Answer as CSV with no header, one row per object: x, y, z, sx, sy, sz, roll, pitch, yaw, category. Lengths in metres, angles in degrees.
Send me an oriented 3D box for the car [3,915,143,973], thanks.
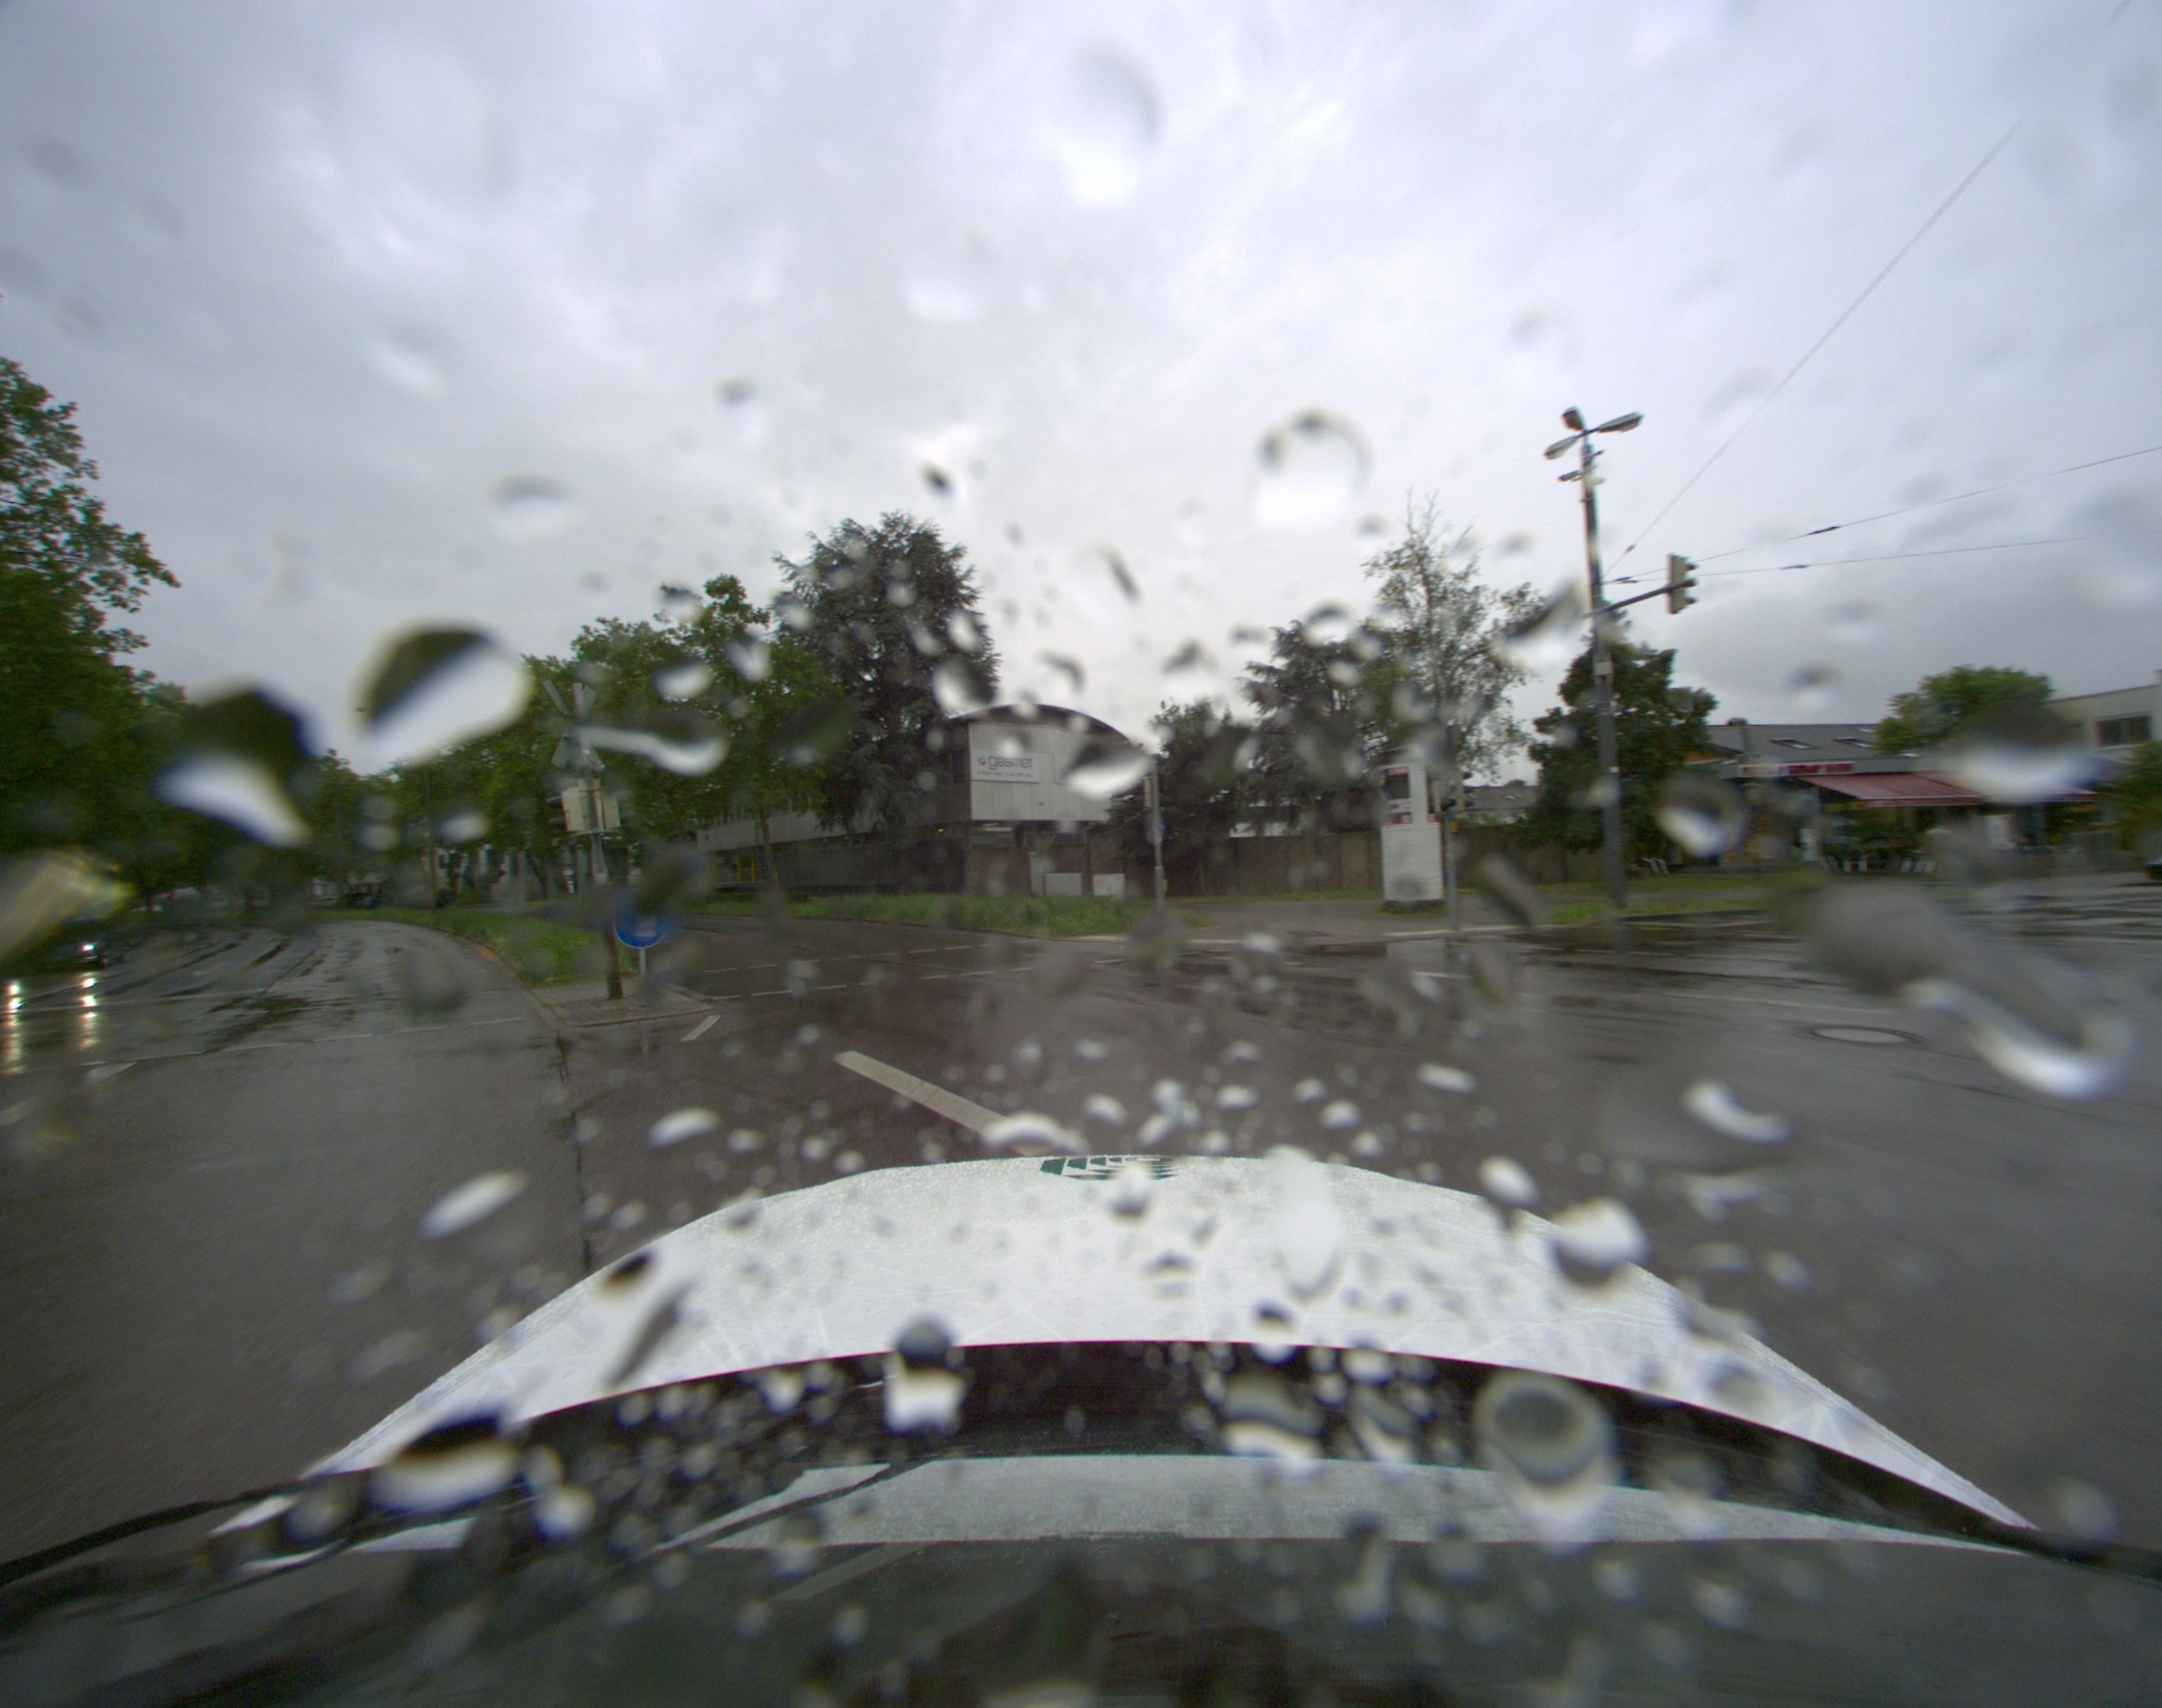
-29.307,2.565,23.830,1.815,1.407,4.406,-2,-2,-41,car

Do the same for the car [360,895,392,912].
-82.313,5.798,95.054,3.948,1.783,2.013,-1,0,36,car

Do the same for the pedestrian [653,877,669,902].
-28.846,2.445,55.962,0.814,1.668,0.677,-1,0,41,pedestrian

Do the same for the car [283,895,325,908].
-109.555,6.722,114.854,1.865,1.493,3.902,-1,0,24,car

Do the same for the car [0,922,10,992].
-21.528,2.070,14.718,1.815,1.401,4.261,-4,0,-42,car

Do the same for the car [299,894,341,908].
-105.851,6.552,113.293,1.864,1.651,3.904,-1,0,30,car

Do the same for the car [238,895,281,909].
-122.485,7.160,121.468,1.976,1.831,4.022,-1,0,22,car

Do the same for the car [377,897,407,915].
-76.762,5.736,90.707,3.949,1.783,2.012,-1,0,41,car

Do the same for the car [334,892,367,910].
-91.579,5.858,102.112,3.948,2.088,2.142,-1,0,34,car

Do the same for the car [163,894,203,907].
-148.941,7.749,135.088,1.975,1.820,4.023,-1,0,25,car

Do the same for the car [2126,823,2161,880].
29.181,-0.191,19.712,1.863,1.418,4.452,-2,-2,-27,car

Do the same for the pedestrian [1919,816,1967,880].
25.168,-0.176,23.789,0.888,1.797,0.721,-3,1,-26,pedestrian

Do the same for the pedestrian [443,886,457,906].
-64.119,4.272,82.723,0.705,1.950,0.856,-2,0,-4,pedestrian
